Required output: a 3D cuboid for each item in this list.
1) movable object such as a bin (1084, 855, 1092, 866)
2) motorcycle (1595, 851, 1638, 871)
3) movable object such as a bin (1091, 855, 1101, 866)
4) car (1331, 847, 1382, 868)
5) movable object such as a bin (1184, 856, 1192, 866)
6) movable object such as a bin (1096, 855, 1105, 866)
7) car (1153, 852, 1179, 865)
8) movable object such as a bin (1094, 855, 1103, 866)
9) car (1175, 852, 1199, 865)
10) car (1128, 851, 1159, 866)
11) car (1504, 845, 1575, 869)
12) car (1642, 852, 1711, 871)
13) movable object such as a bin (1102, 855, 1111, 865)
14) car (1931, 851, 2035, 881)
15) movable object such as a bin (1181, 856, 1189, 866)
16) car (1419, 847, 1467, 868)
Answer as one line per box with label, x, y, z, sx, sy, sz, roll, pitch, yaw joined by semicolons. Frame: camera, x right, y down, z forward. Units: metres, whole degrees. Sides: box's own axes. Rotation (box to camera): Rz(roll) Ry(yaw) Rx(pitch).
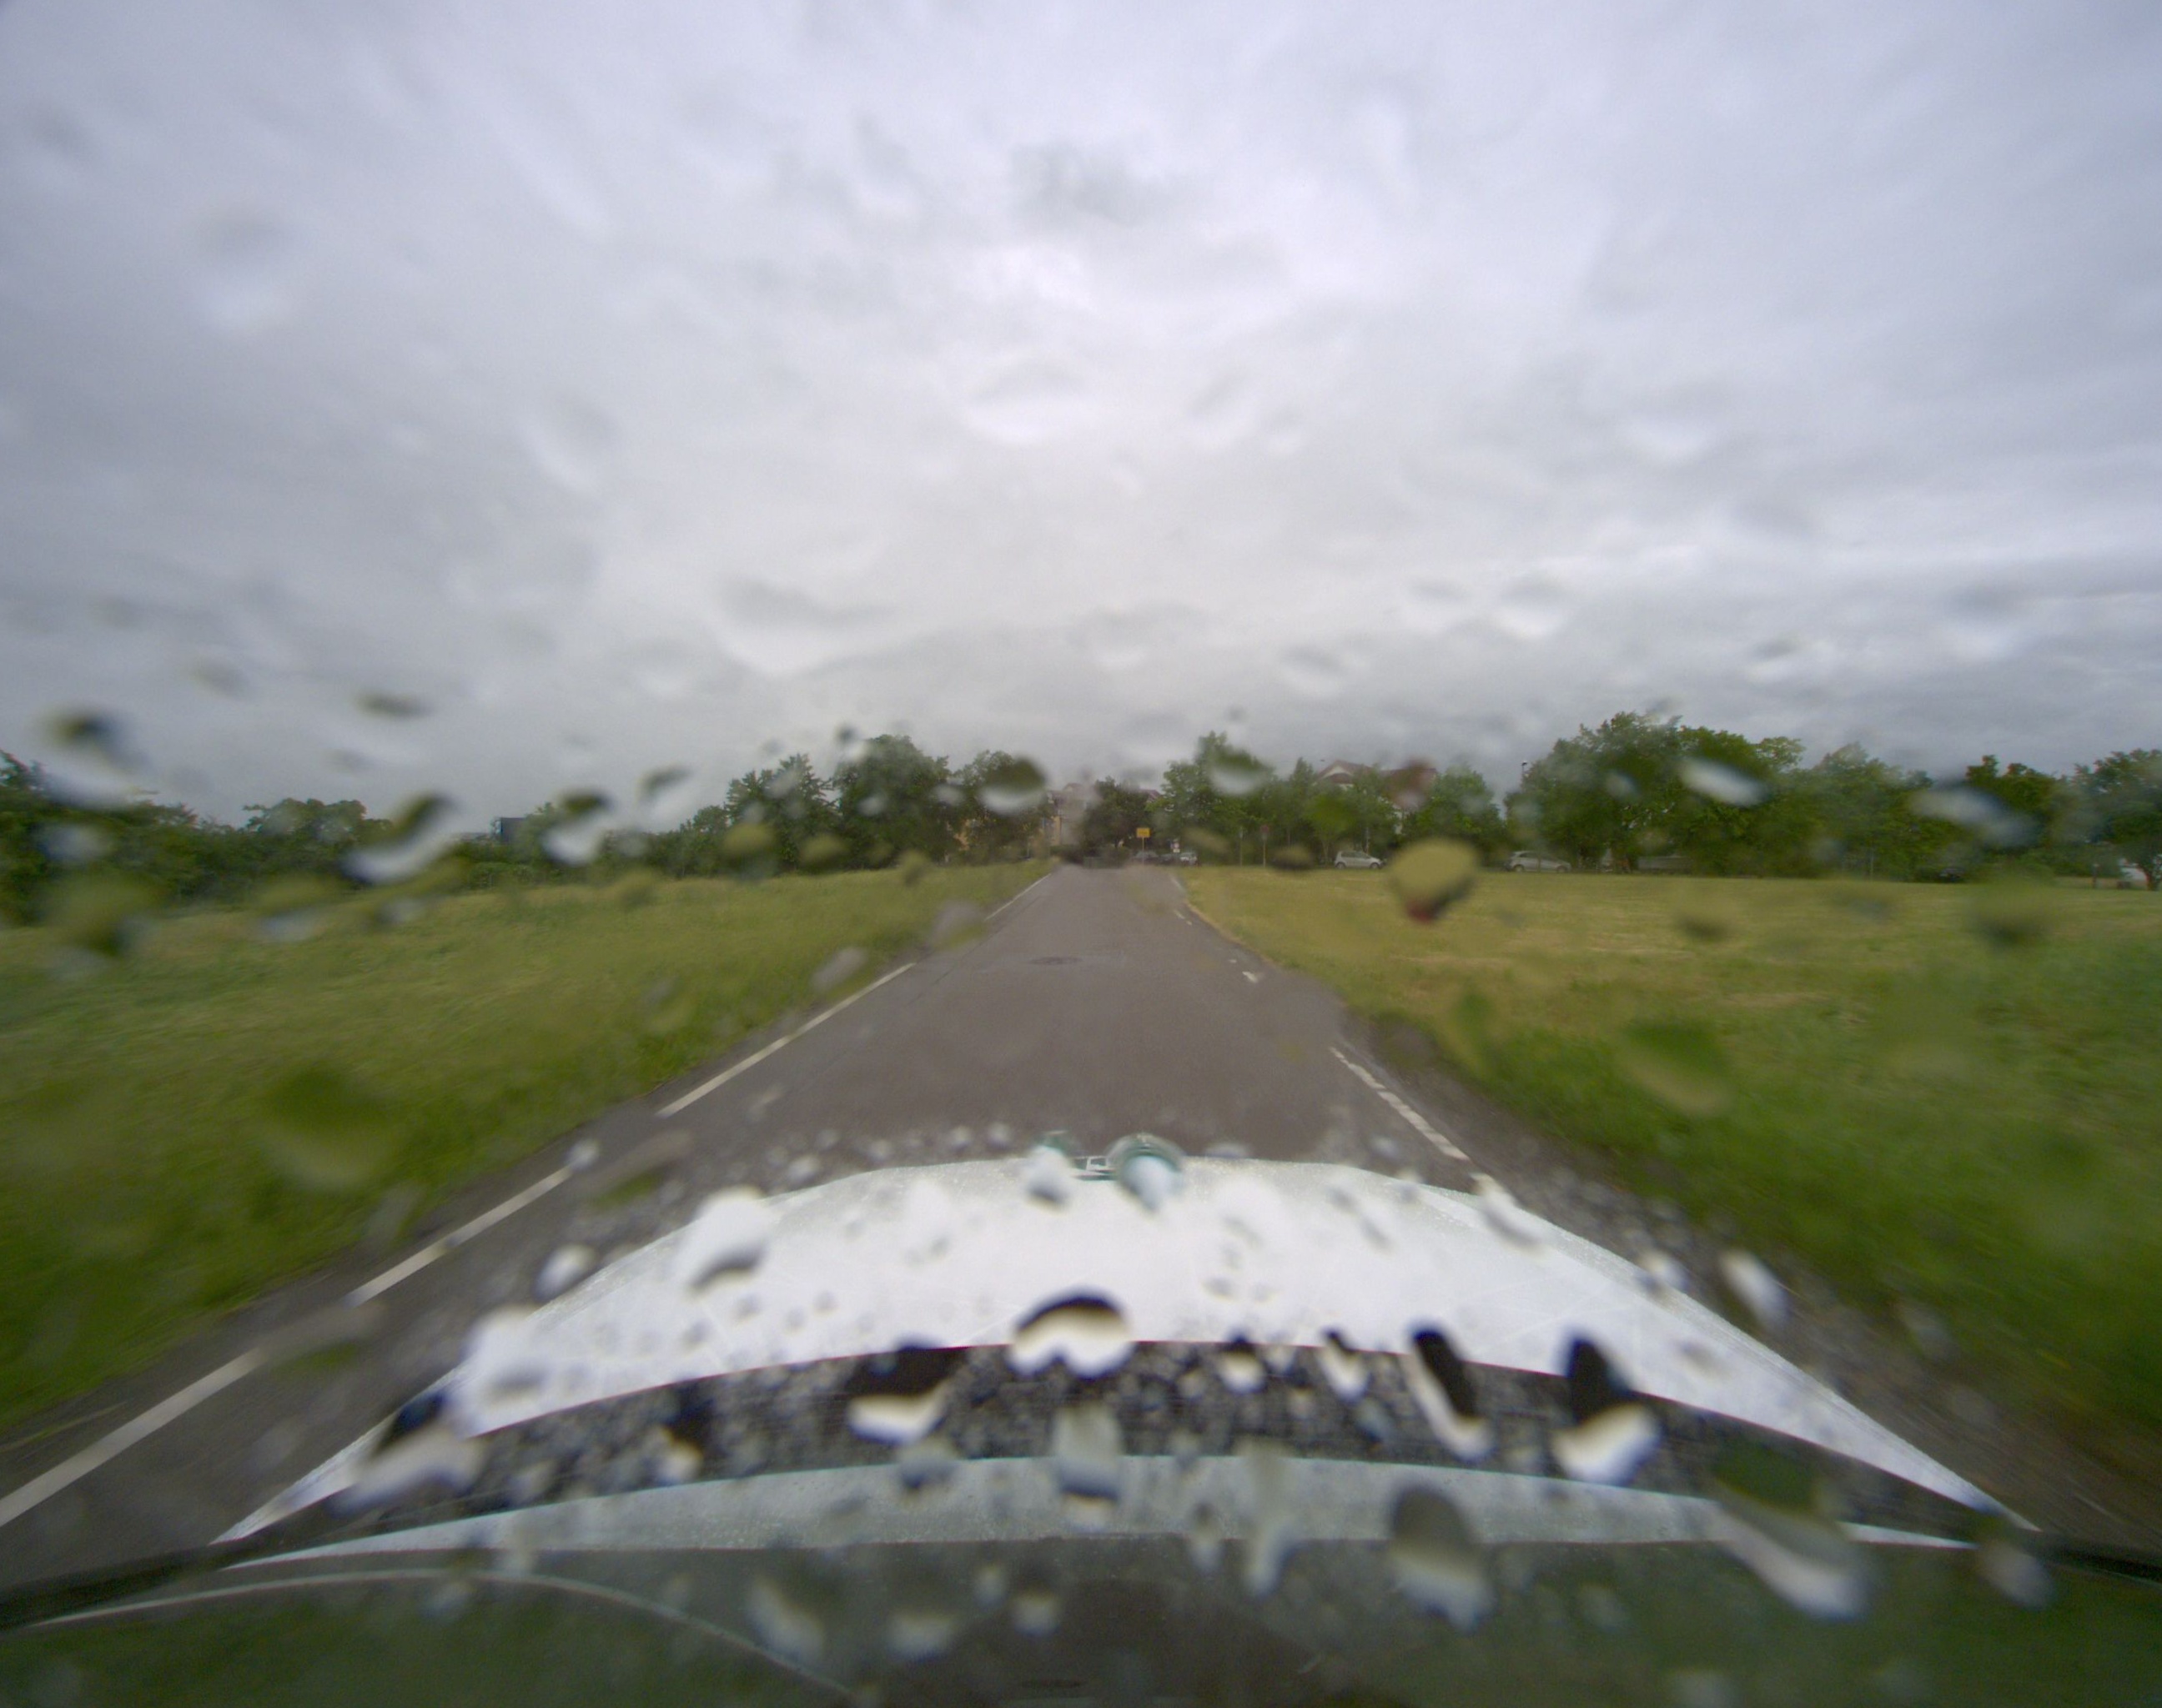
movable object such as a bin;0.685;0.624;78.238;0.659;1.073;0.546;-1;0;22
motorcycle;36.216;0.467;55.144;2.242;1.302;0.975;1;0;13
movable object such as a bin;1.433;0.618;78.024;0.688;1.075;0.605;-1;0;22
car;20.272;0.280;59.941;3.514;1.479;1.688;-1;-1;19
movable object such as a bin;10.772;0.706;81.942;0.565;0.931;0.533;0;-1;35
movable object such as a bin;1.920;0.608;79.187;0.688;1.067;0.582;-1;0;22
car;9.854;0.556;94.237;1.619;1.409;3.627;2;1;31
movable object such as a bin;1.681;0.611;78.619;0.688;1.075;0.546;-1;0;22
car;12.839;0.559;98.591;1.496;1.476;3.294;2;1;33
car;6.836;0.469;89.145;1.758;1.518;4.163;2;1;30
car;31.892;0.193;56.747;3.949;1.552;1.859;1;0;13
car;39.886;0.506;54.599;3.295;1.281;1.740;0;0;13
movable object such as a bin;2.483;0.596;80.380;0.688;1.055;0.608;-1;0;22
car;56.714;0.726;51.287;3.961;1.607;1.968;3;1;11
movable object such as a bin;10.429;0.701;81.469;0.565;0.931;0.533;0;-1;35
car;25.869;0.242;58.271;2.978;1.436;1.561;0;-1;18
